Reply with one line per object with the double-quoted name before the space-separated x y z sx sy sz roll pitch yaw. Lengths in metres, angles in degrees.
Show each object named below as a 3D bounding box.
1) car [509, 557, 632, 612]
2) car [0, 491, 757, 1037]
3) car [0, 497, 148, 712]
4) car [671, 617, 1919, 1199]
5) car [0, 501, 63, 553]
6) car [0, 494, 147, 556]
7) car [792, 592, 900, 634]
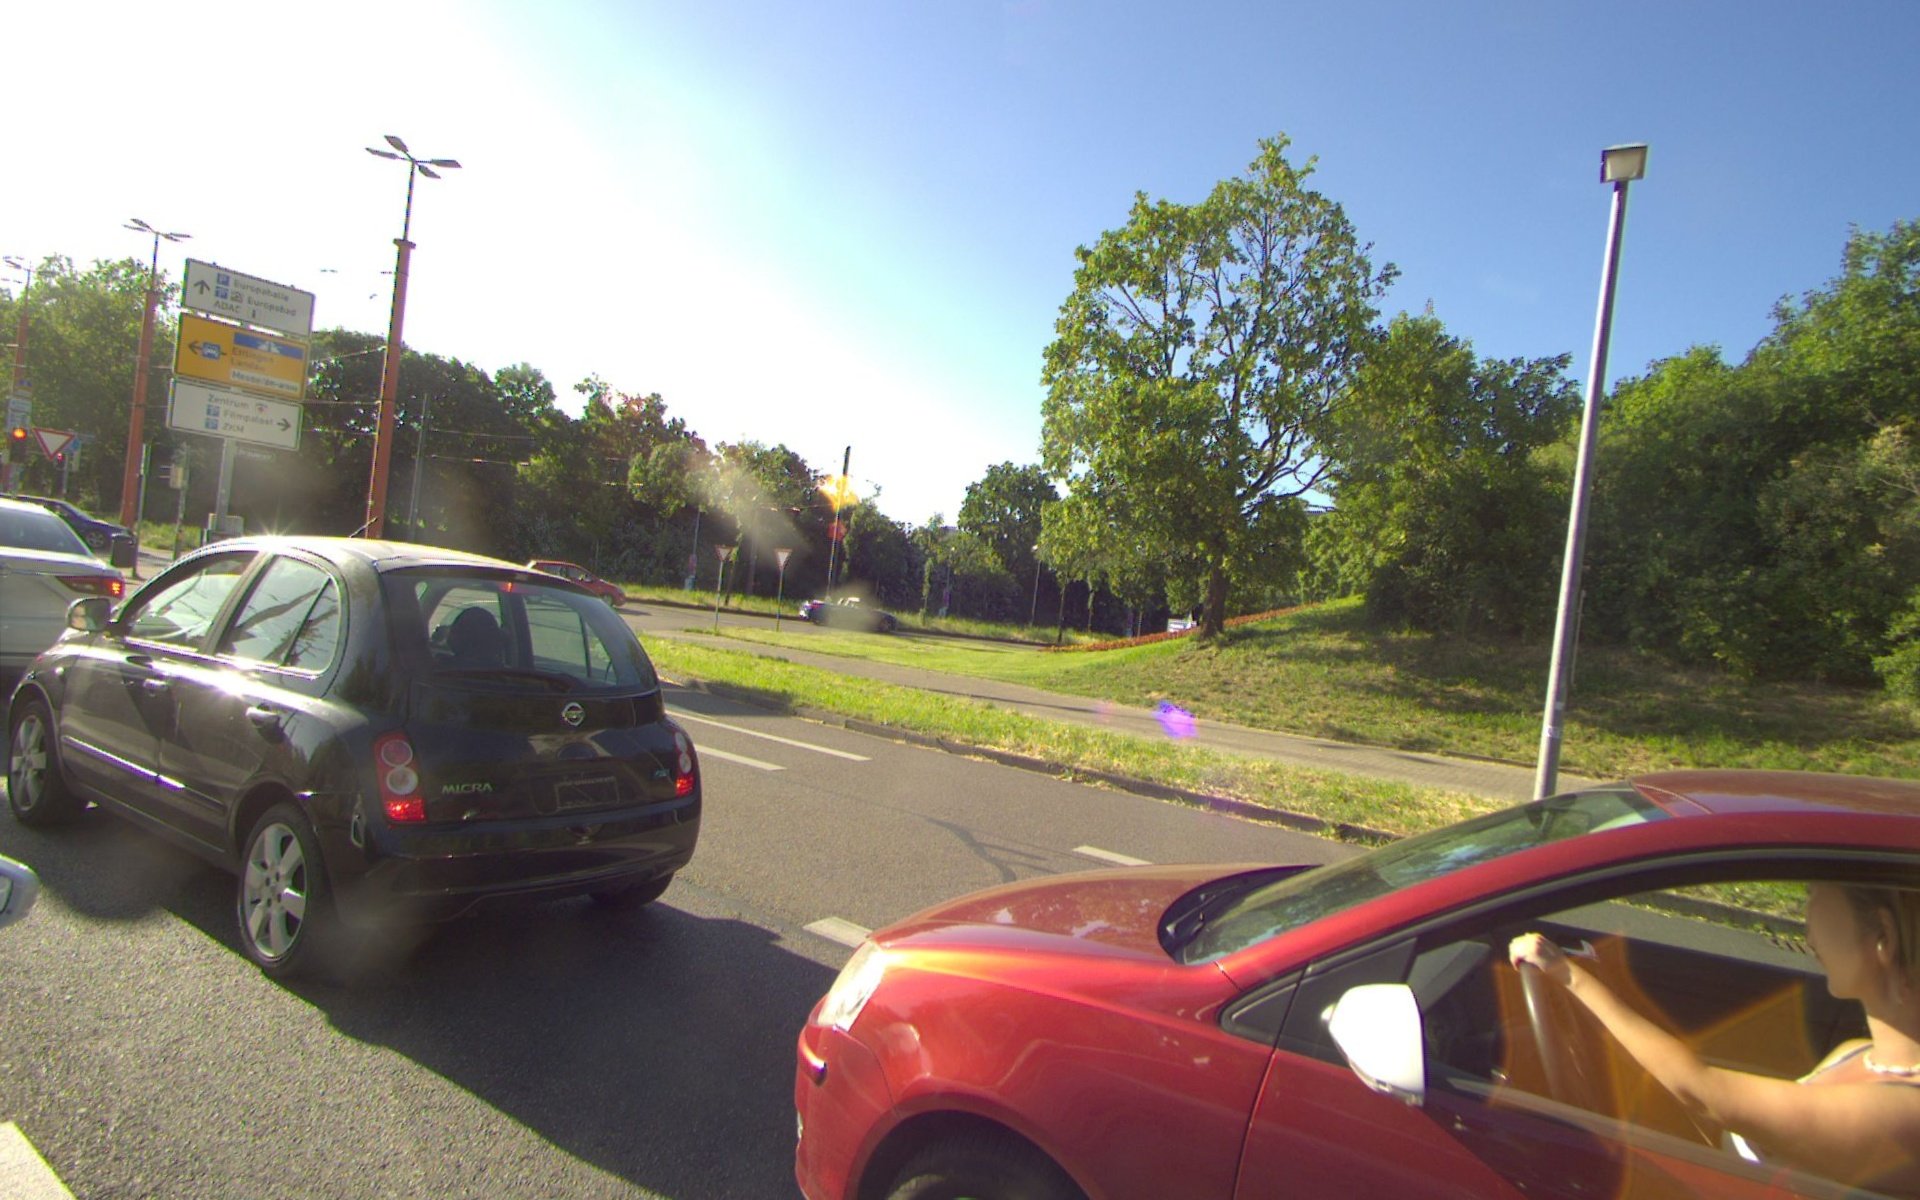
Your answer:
"car" -14.632 -0.572 37.823 3.958 1.512 1.757 8 -1 -31
"car" -2.829 0.464 4.629 3.457 1.524 1.558 7 0 32
"car" -8.355 -0.164 7.983 4.077 1.472 1.717 7 -1 33
"car" 1.363 0.990 1.899 3.634 1.434 1.624 7 -1 34
"car" -29.116 -2.346 29.161 4.271 1.343 1.748 8 -1 -29
"car" -29.660 -2.484 33.070 4.186 1.497 1.741 8 -1 -29
"car" -5.327 0.624 47.247 4.617 1.379 1.758 8 -1 -30
